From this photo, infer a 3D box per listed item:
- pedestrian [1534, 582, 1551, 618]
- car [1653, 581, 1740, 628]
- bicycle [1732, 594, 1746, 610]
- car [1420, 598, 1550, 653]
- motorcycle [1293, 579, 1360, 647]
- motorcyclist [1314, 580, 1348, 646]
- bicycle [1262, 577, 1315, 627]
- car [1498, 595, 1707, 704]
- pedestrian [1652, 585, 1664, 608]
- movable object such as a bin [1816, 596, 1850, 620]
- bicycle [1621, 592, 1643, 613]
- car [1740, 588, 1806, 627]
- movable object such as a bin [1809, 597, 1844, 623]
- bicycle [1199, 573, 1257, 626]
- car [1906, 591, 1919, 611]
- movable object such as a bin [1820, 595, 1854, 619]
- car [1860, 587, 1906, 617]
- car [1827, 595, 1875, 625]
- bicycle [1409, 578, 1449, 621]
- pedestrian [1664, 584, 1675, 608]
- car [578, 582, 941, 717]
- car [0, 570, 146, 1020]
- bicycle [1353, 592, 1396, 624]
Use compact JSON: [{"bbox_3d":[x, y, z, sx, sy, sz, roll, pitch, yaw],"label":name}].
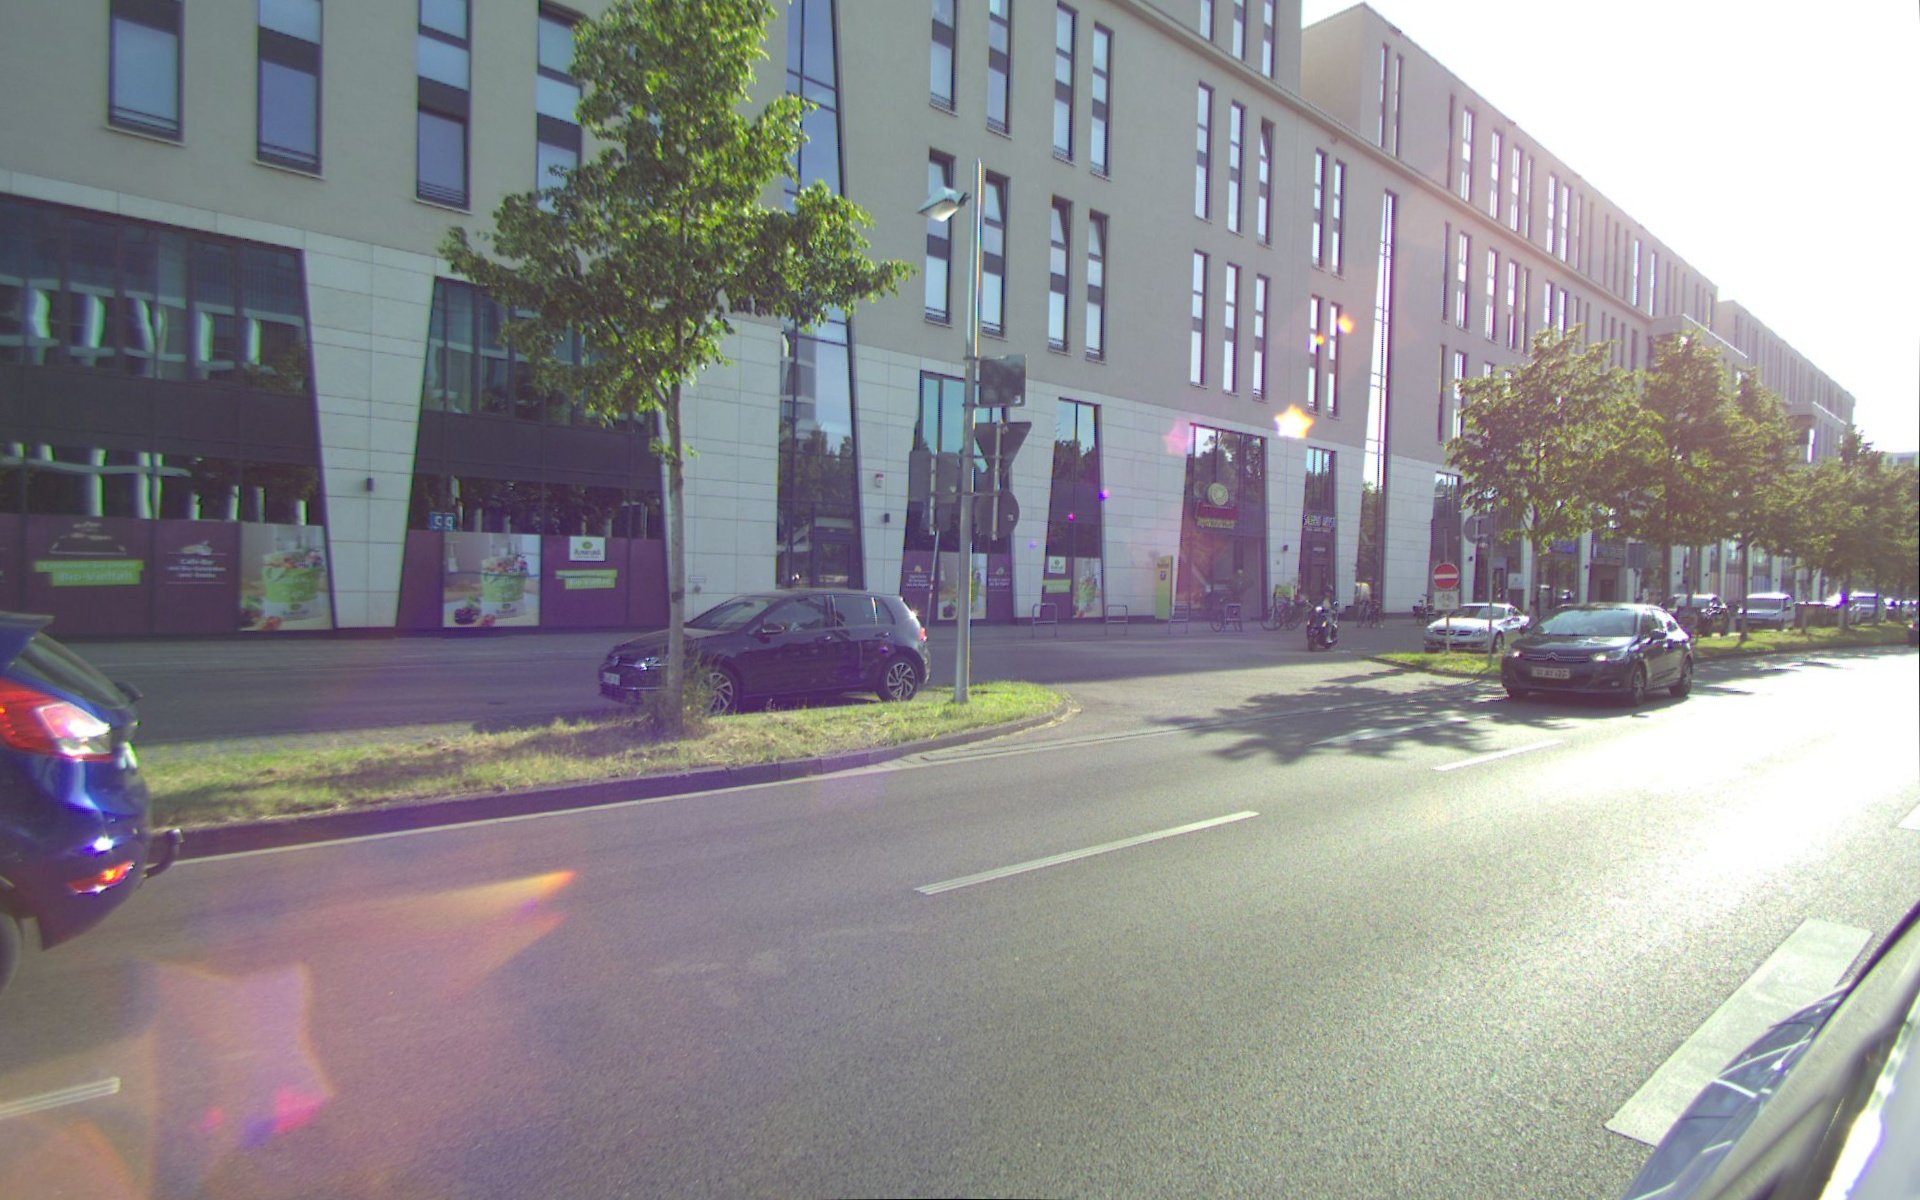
[{"bbox_3d":[29.198,0.005,50.700,0.635,1.785,0.538,0,0,-40],"label":"pedestrian"},{"bbox_3d":[28.771,0.185,39.478,4.597,1.730,1.899,1,0,-42],"label":"car"},{"bbox_3d":[56.378,0.120,73.236,1.711,1.093,0.345,-1,5,-40],"label":"bicycle"},{"bbox_3d":[13.475,0.595,25.891,3.838,1.258,1.711,-1,1,-42],"label":"car"},{"bbox_3d":[9.511,0.313,26.210,1.978,1.636,0.702,-1,6,-43],"label":"motorcycle"},{"bbox_3d":[9.643,0.318,26.315,0.411,1.660,0.624,0,3,-44],"label":"motorcyclist"},{"bbox_3d":[10.730,0.036,33.013,2.173,1.587,0.556,-1,1,-40],"label":"bicycle"},{"bbox_3d":[10.045,0.658,15.708,3.969,1.442,1.697,-1,1,-41],"label":"car"},{"bbox_3d":[46.607,-0.259,67.558,0.587,1.541,0.514,0,0,-41],"label":"pedestrian"},{"bbox_3d":[45.998,0.422,53.317,1.172,1.252,1.278,-1,0,-44],"label":"movable object such as a bin"},{"bbox_3d":[37.284,0.128,56.131,1.911,1.130,0.493,-1,2,-41],"label":"bicycle"},{"bbox_3d":[37.853,0.310,47.088,4.223,1.733,1.829,-1,1,-43],"label":"car"},{"bbox_3d":[45.026,0.505,52.598,1.159,1.307,1.278,-1,0,-44],"label":"movable object such as a bin"},{"bbox_3d":[8.306,-0.048,31.317,2.236,1.590,0.556,-1,1,-40],"label":"bicycle"},{"bbox_3d":[72.438,0.046,76.140,4.098,1.430,1.617,-1,1,-43],"label":"car"},{"bbox_3d":[46.956,0.375,54.184,1.172,1.252,1.278,-1,0,-44],"label":"movable object such as a bin"},{"bbox_3d":[61.318,0.092,67.194,4.947,1.899,1.839,-1,1,-43],"label":"car"},{"bbox_3d":[54.035,0.557,61.343,4.769,1.650,1.732,-1,2,-43],"label":"car"},{"bbox_3d":[18.595,-0.032,40.101,2.173,1.639,0.556,-1,1,-40],"label":"bicycle"},{"bbox_3d":[47.046,-0.288,67.101,0.536,1.594,0.509,0,0,35],"label":"pedestrian"},{"bbox_3d":[-2.329,0.483,12.347,4.083,1.387,1.610,-1,1,-39],"label":"car"},{"bbox_3d":[-4.761,0.617,2.823,3.838,1.442,1.563,0,0,-41],"label":"car"},{"bbox_3d":[15.141,0.285,36.930,1.871,1.097,0.635,0,2,-40],"label":"bicycle"}]
